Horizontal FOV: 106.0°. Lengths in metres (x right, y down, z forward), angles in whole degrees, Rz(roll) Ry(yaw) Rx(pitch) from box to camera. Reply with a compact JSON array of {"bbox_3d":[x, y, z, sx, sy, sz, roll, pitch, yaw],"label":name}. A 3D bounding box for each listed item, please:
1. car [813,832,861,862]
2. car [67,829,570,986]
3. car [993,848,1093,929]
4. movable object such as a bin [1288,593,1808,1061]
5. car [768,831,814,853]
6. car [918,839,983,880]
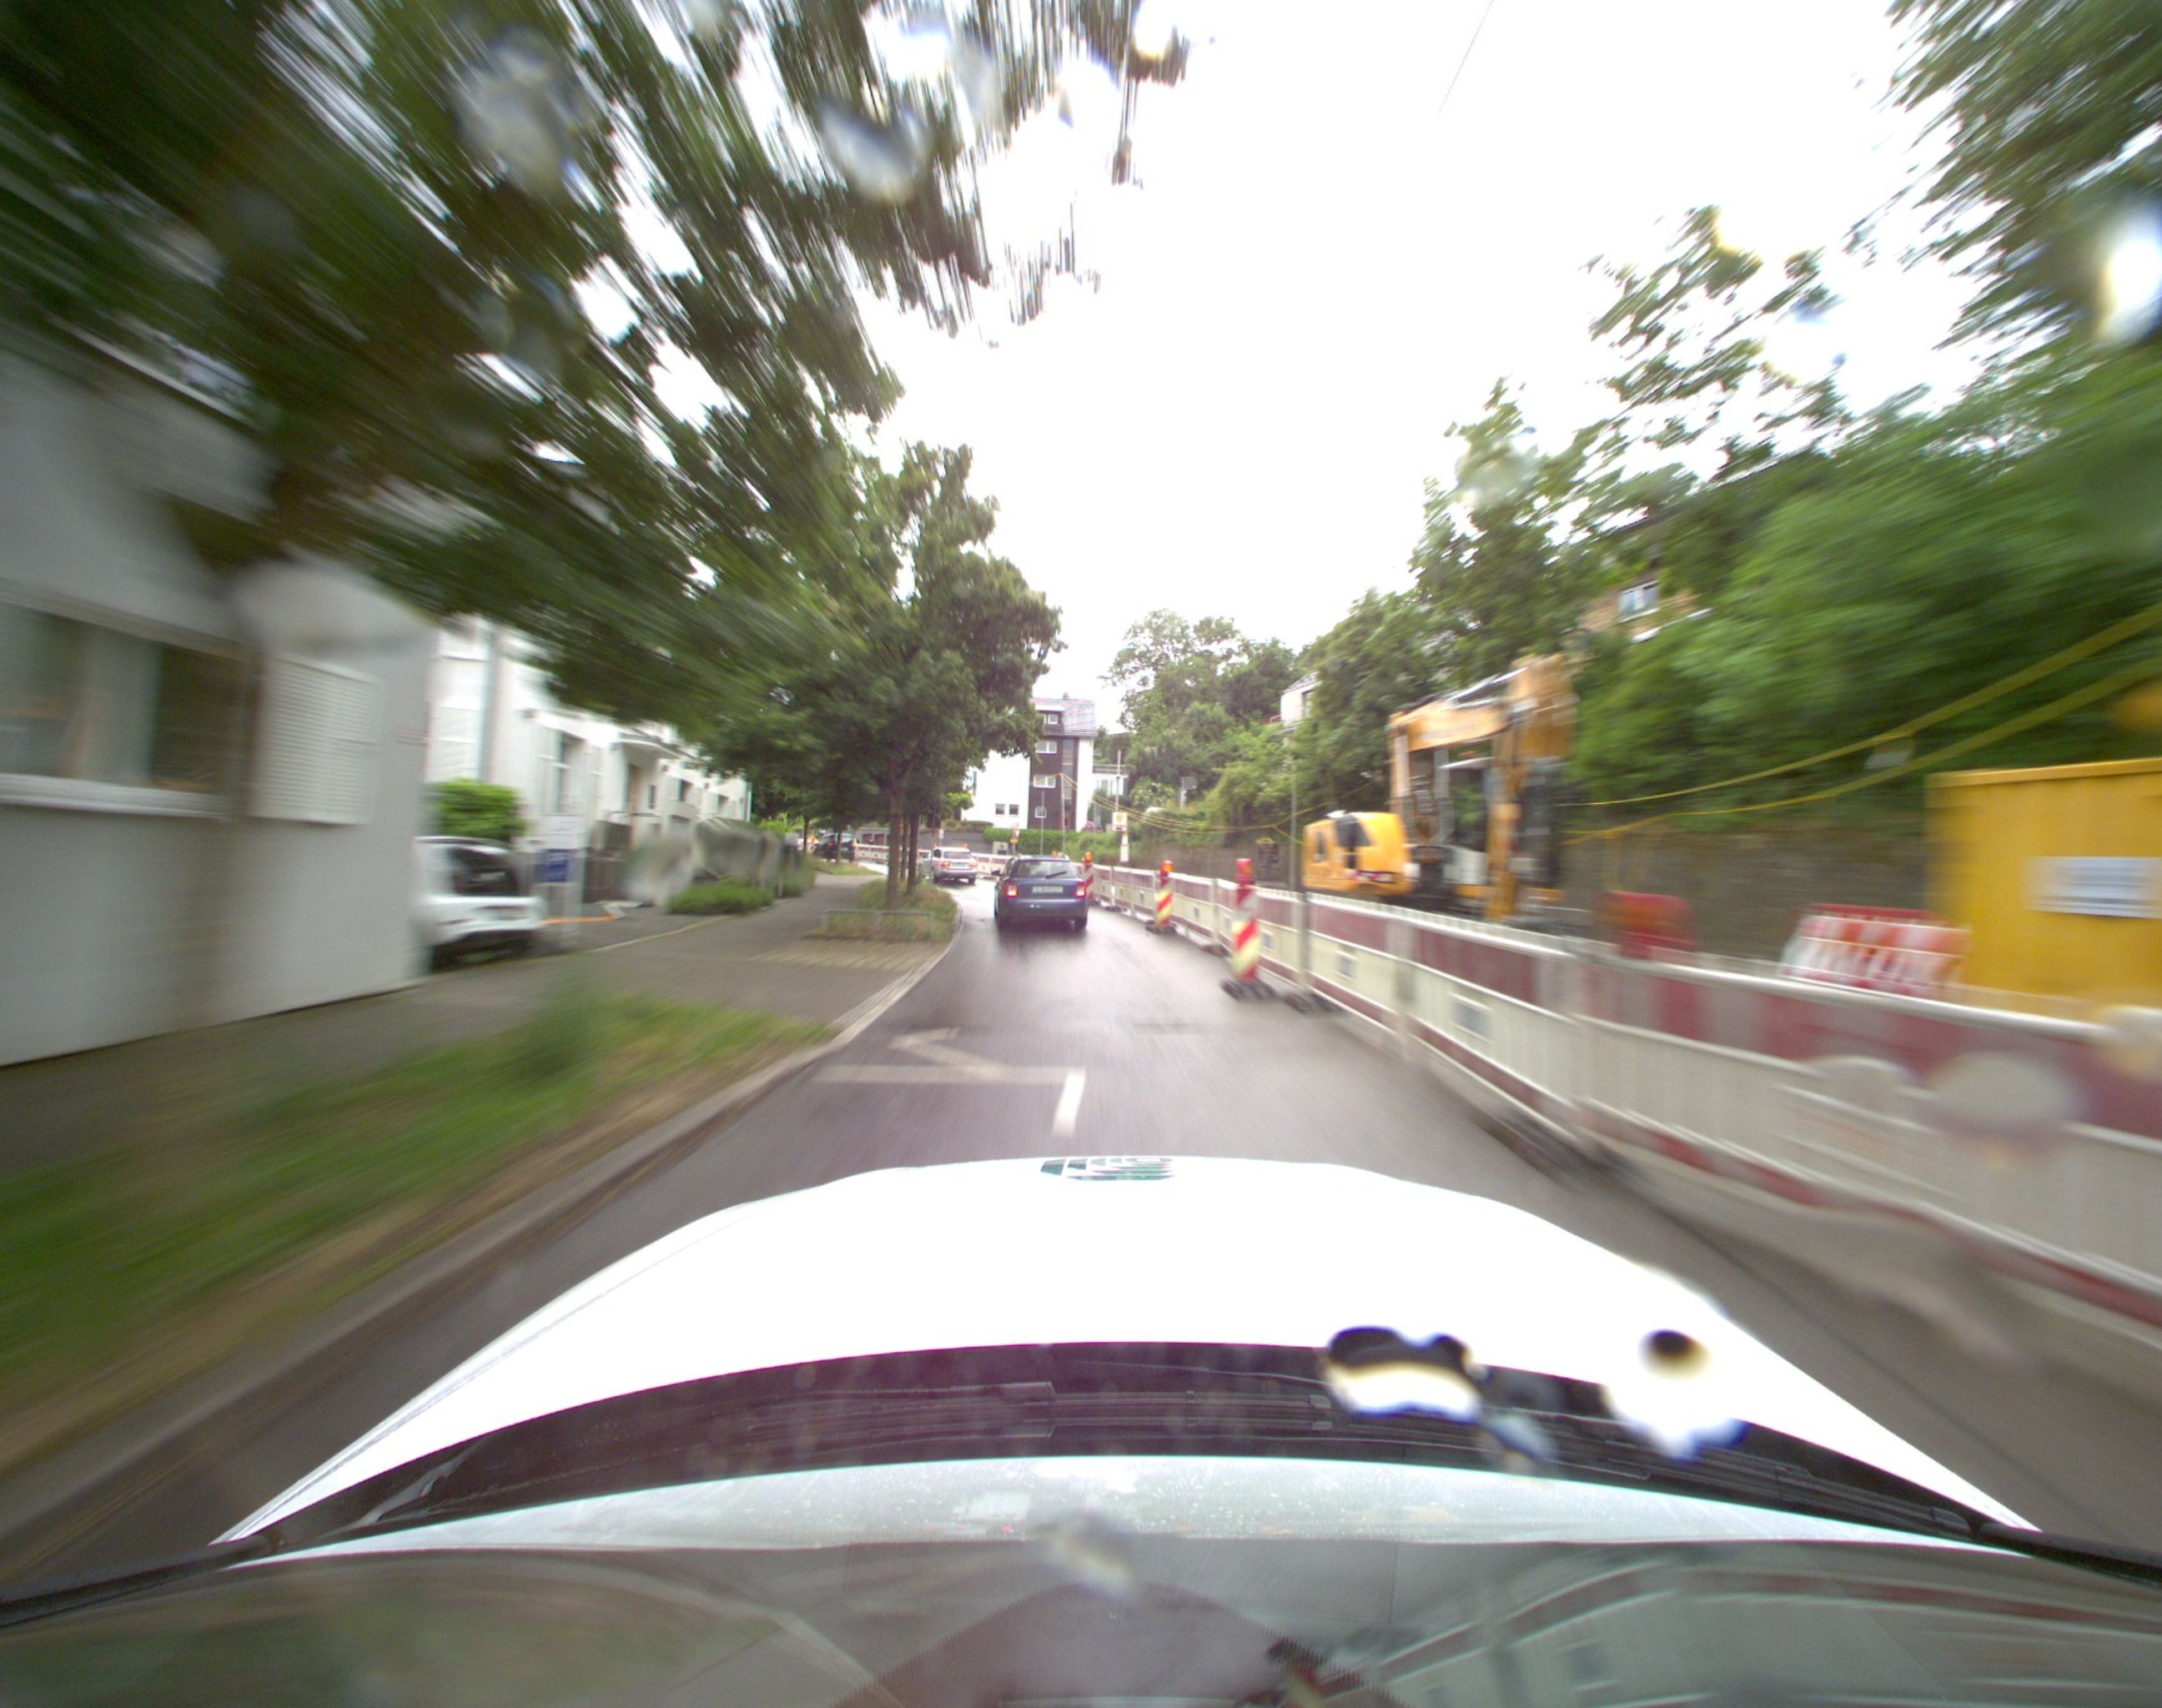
[{"bbox_3d":[-15.427,-0.402,51.420,2.006,1.794,3.961,-1,-1,-31],"label":"car"},{"bbox_3d":[-8.250,0.545,9.088,3.972,1.561,1.750,0,0,1],"label":"car"},{"bbox_3d":[-0.901,0.651,16.957,1.784,1.442,3.954,-1,0,-7],"label":"car"},{"bbox_3d":[4.938,-0.269,10.666,2.809,4.014,7.330,0,0,2],"label":"movable object such as a bin"},{"bbox_3d":[-21.640,-0.856,60.752,1.736,1.486,4.026,0,-1,-43],"label":"car"},{"bbox_3d":[-5.601,0.215,34.562,1.933,1.618,4.290,0,0,-21],"label":"car"}]
